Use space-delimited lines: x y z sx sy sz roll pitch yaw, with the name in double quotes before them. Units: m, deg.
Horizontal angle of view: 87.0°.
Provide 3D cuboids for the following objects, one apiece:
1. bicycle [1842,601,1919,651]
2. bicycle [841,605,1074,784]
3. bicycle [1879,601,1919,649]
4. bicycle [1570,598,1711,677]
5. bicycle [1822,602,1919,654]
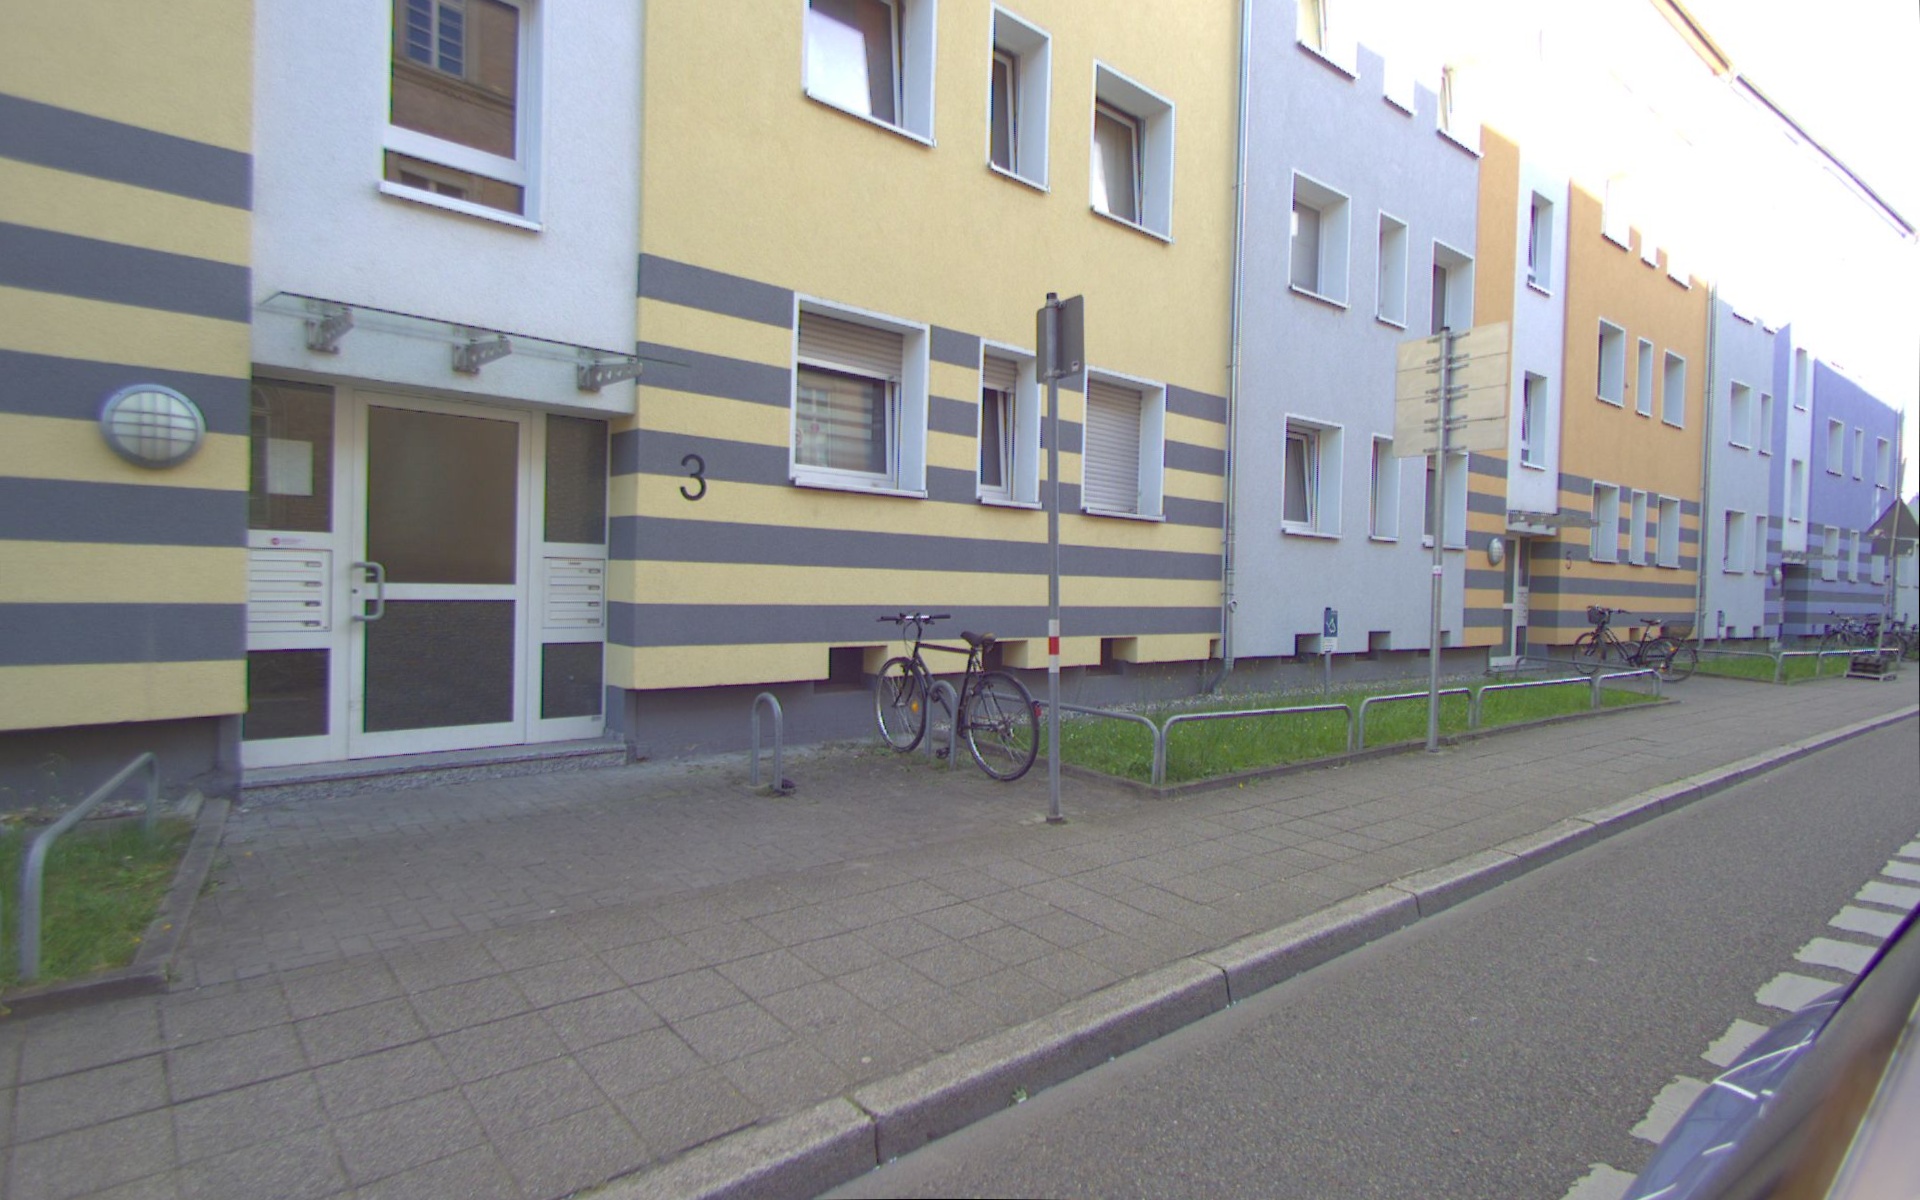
"bicycle" 23.314 0.639 25.420 0.475 1.166 1.678 1 1 -37
"bicycle" -0.068 0.587 7.016 1.775 1.031 0.476 3 1 44
"bicycle" 24.141 0.651 25.276 0.475 1.166 1.678 1 1 -37
"bicycle" 10.693 0.560 15.945 1.775 1.137 0.476 3 1 44
"bicycle" 22.232 0.656 24.727 0.475 1.166 1.678 1 1 -37
